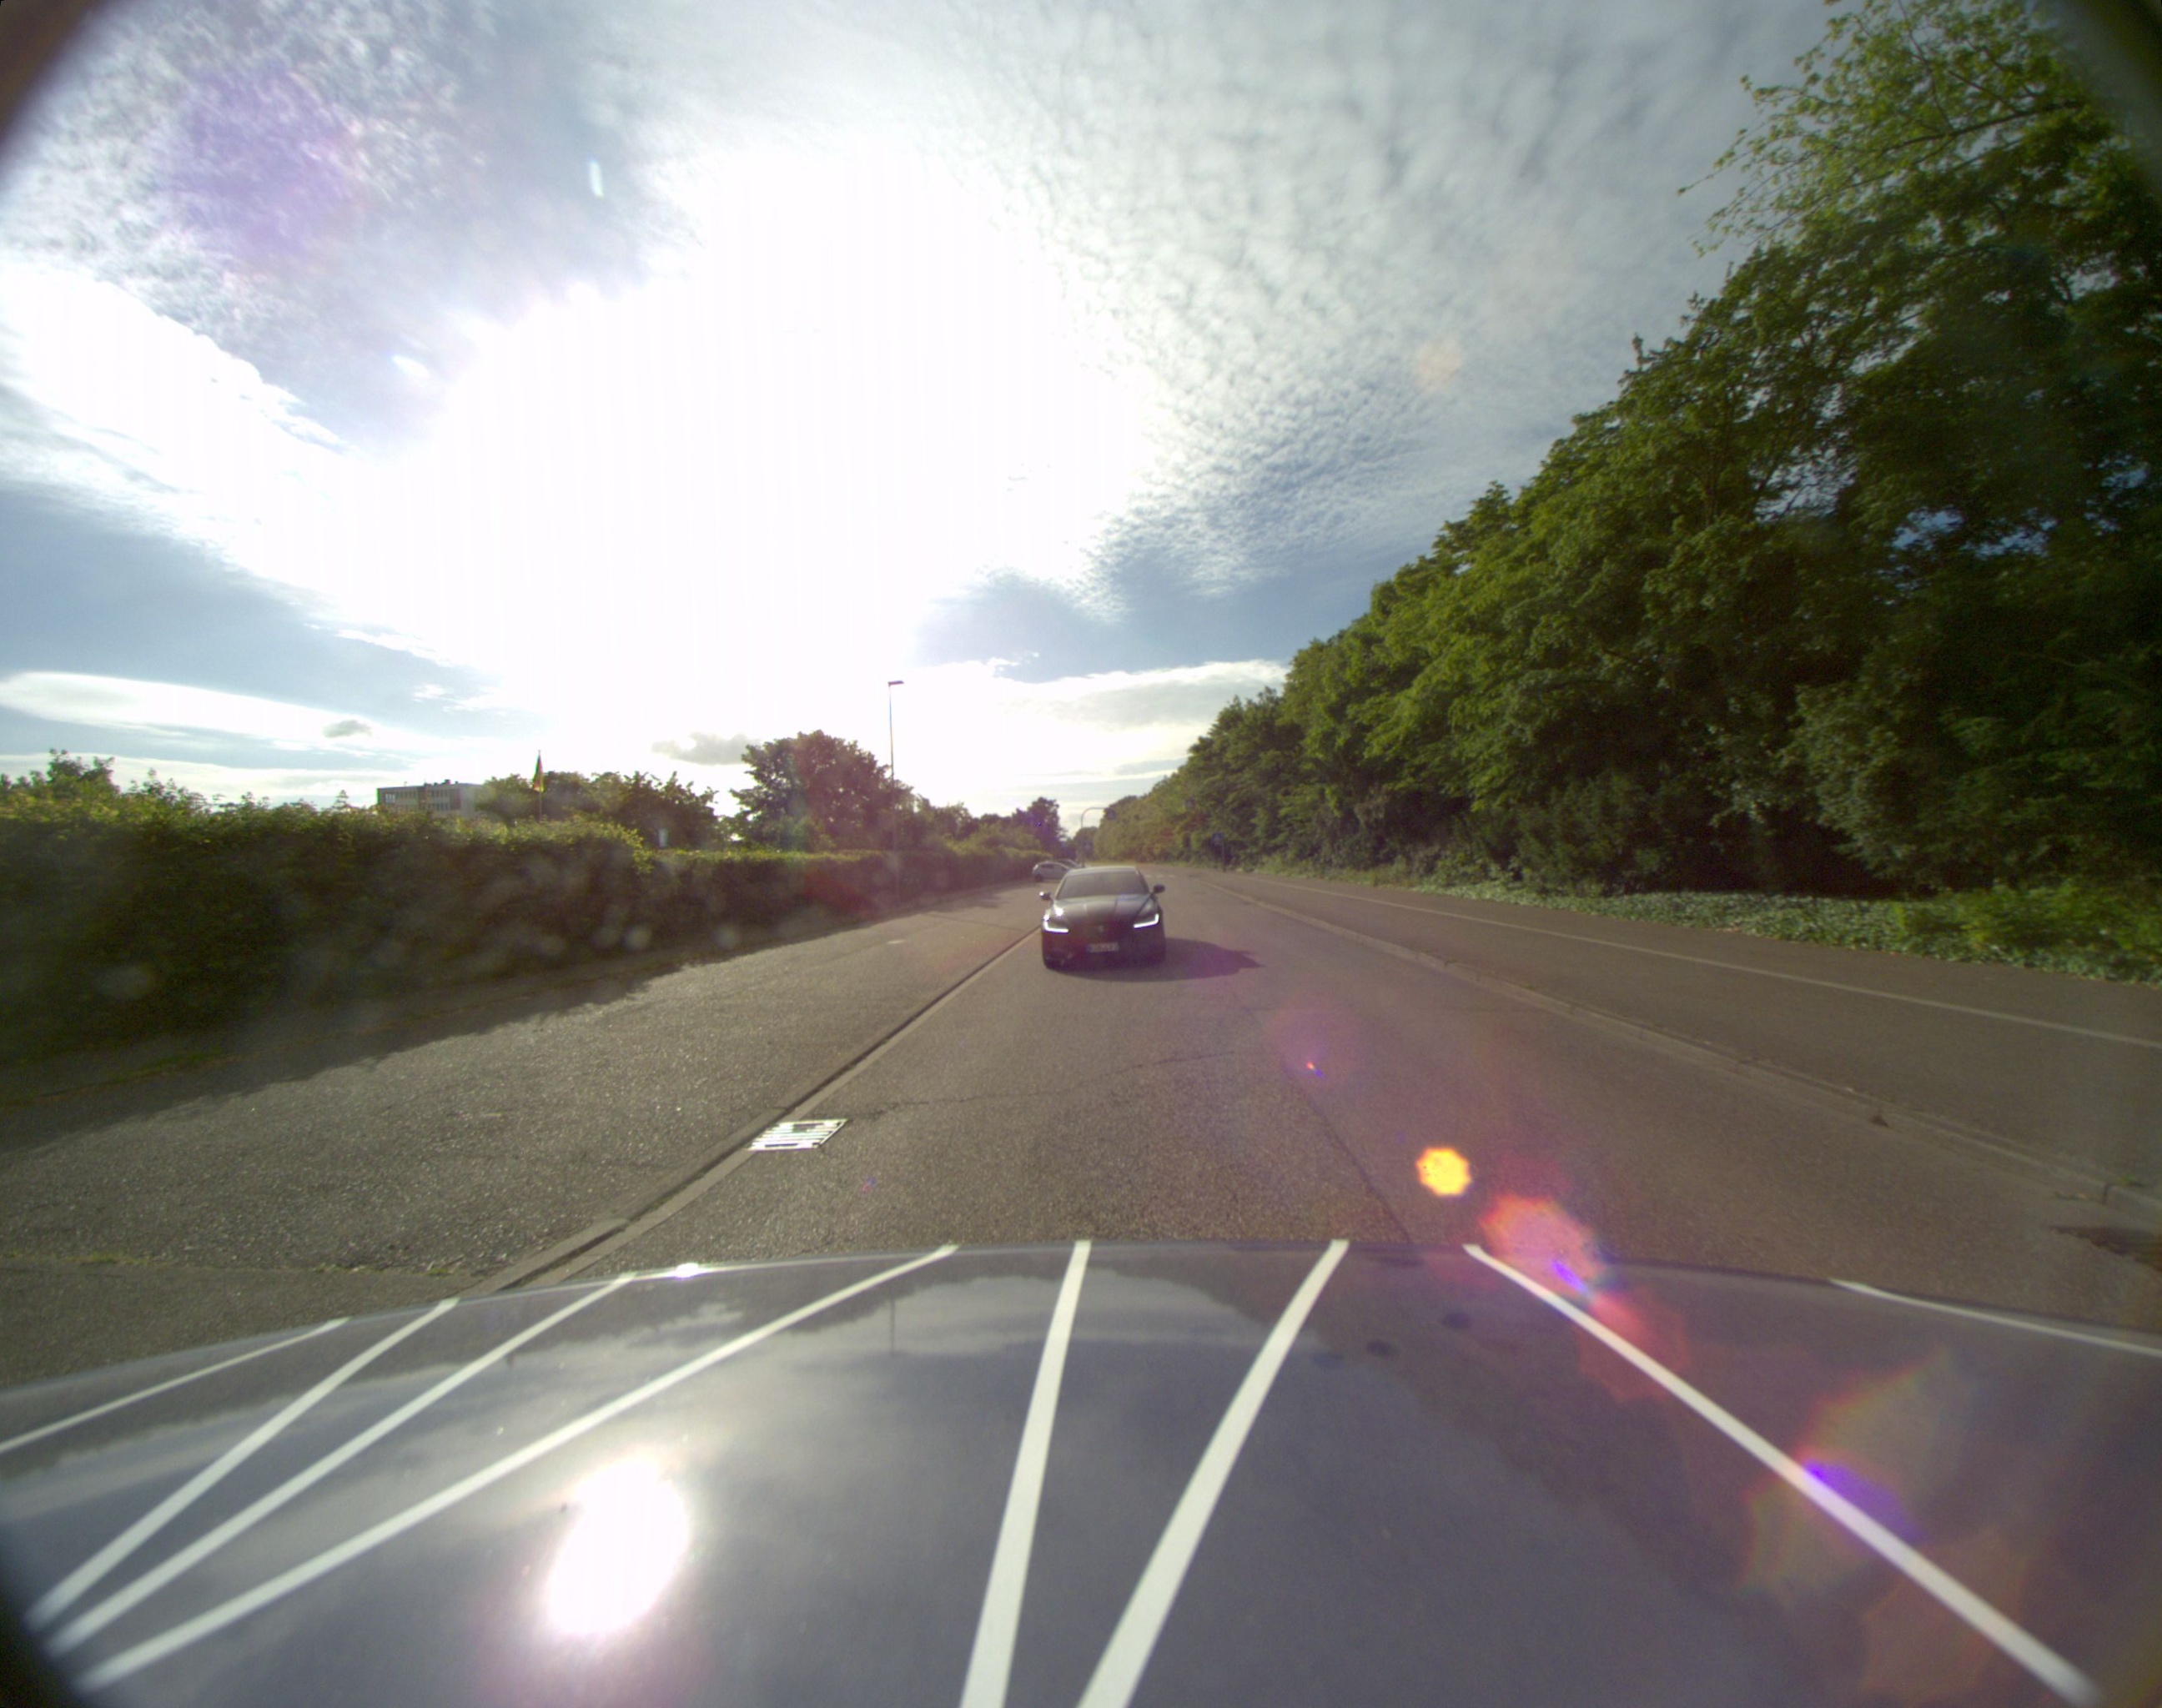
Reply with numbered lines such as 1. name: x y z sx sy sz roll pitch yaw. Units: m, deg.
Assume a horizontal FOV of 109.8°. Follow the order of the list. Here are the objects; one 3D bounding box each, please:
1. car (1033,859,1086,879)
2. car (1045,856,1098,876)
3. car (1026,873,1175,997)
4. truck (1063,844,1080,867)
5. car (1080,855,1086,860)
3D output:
1. car: -1.602 1.167 57.910 3.866 1.481 1.693 1 -2 3
2. car: -0.854 1.098 68.601 4.598 1.689 1.764 -1 0 4
3. car: 0.366 1.147 12.469 1.936 1.500 4.681 -2 -1 3
4. truck: -1.789 0.298 138.362 2.603 3.934 6.282 1 -1 -4
5. car: 0.581 1.132 229.098 1.806 1.576 4.102 -1 0 0
